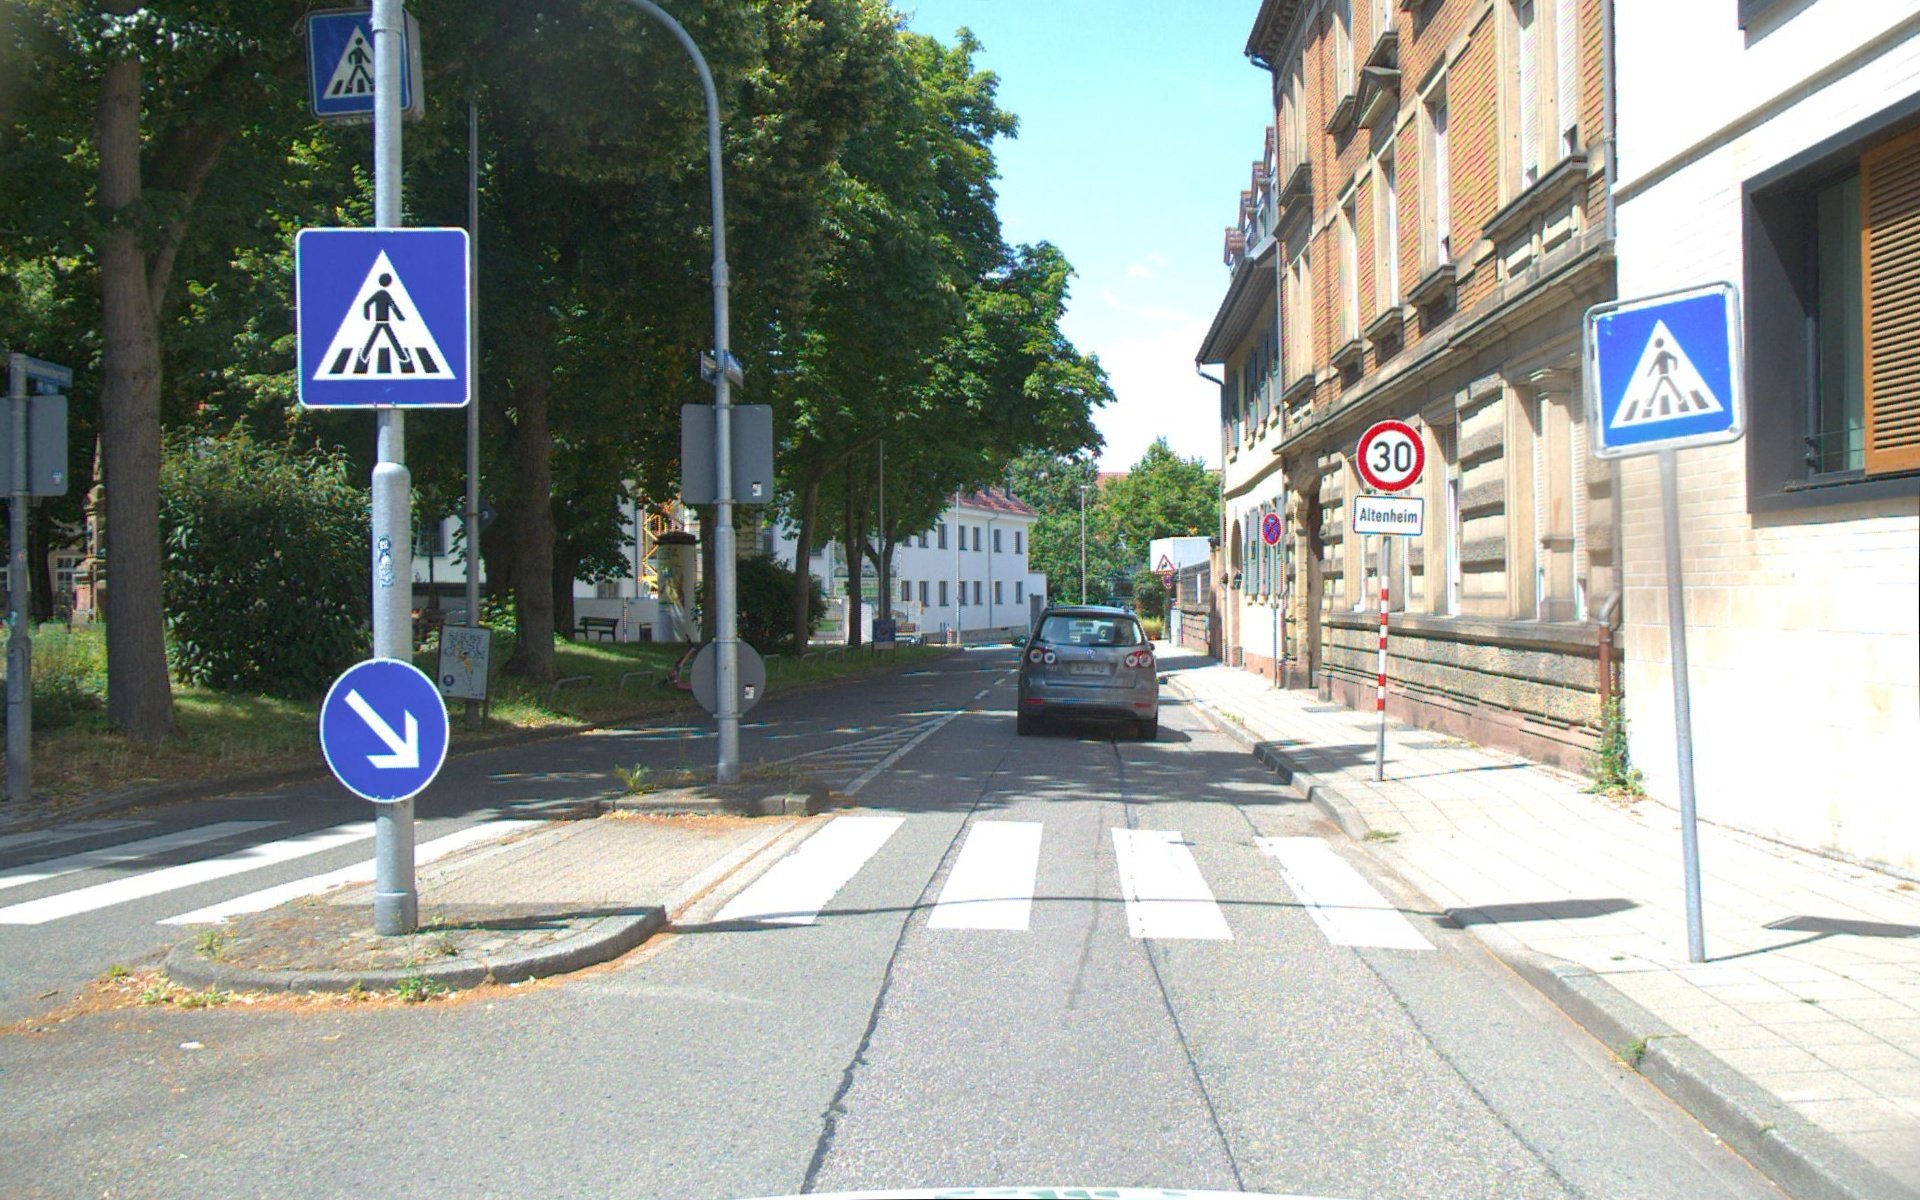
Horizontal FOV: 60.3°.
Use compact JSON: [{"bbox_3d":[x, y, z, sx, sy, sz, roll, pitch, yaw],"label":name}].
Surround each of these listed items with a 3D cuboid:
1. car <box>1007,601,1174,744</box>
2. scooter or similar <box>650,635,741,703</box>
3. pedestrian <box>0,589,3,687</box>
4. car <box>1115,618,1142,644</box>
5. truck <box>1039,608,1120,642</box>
[{"bbox_3d":[1.661,0.858,21.347,1.863,1.560,4.245,3,0,4],"label":"car"},{"bbox_3d":[-4.752,1.227,29.885,1.247,1.008,1.452,8,-1,2],"label":"scooter or similar"},{"bbox_3d":[-12.750,0.508,20.981,0.893,1.274,1.140,0,1,-23],"label":"pedestrian"},{"bbox_3d":[10.678,1.957,104.994,1.612,1.601,3.641,1,0,4],"label":"car"},{"bbox_3d":[7.247,1.498,100.577,4.697,2.049,2.144,0,-1,-3],"label":"truck"}]
